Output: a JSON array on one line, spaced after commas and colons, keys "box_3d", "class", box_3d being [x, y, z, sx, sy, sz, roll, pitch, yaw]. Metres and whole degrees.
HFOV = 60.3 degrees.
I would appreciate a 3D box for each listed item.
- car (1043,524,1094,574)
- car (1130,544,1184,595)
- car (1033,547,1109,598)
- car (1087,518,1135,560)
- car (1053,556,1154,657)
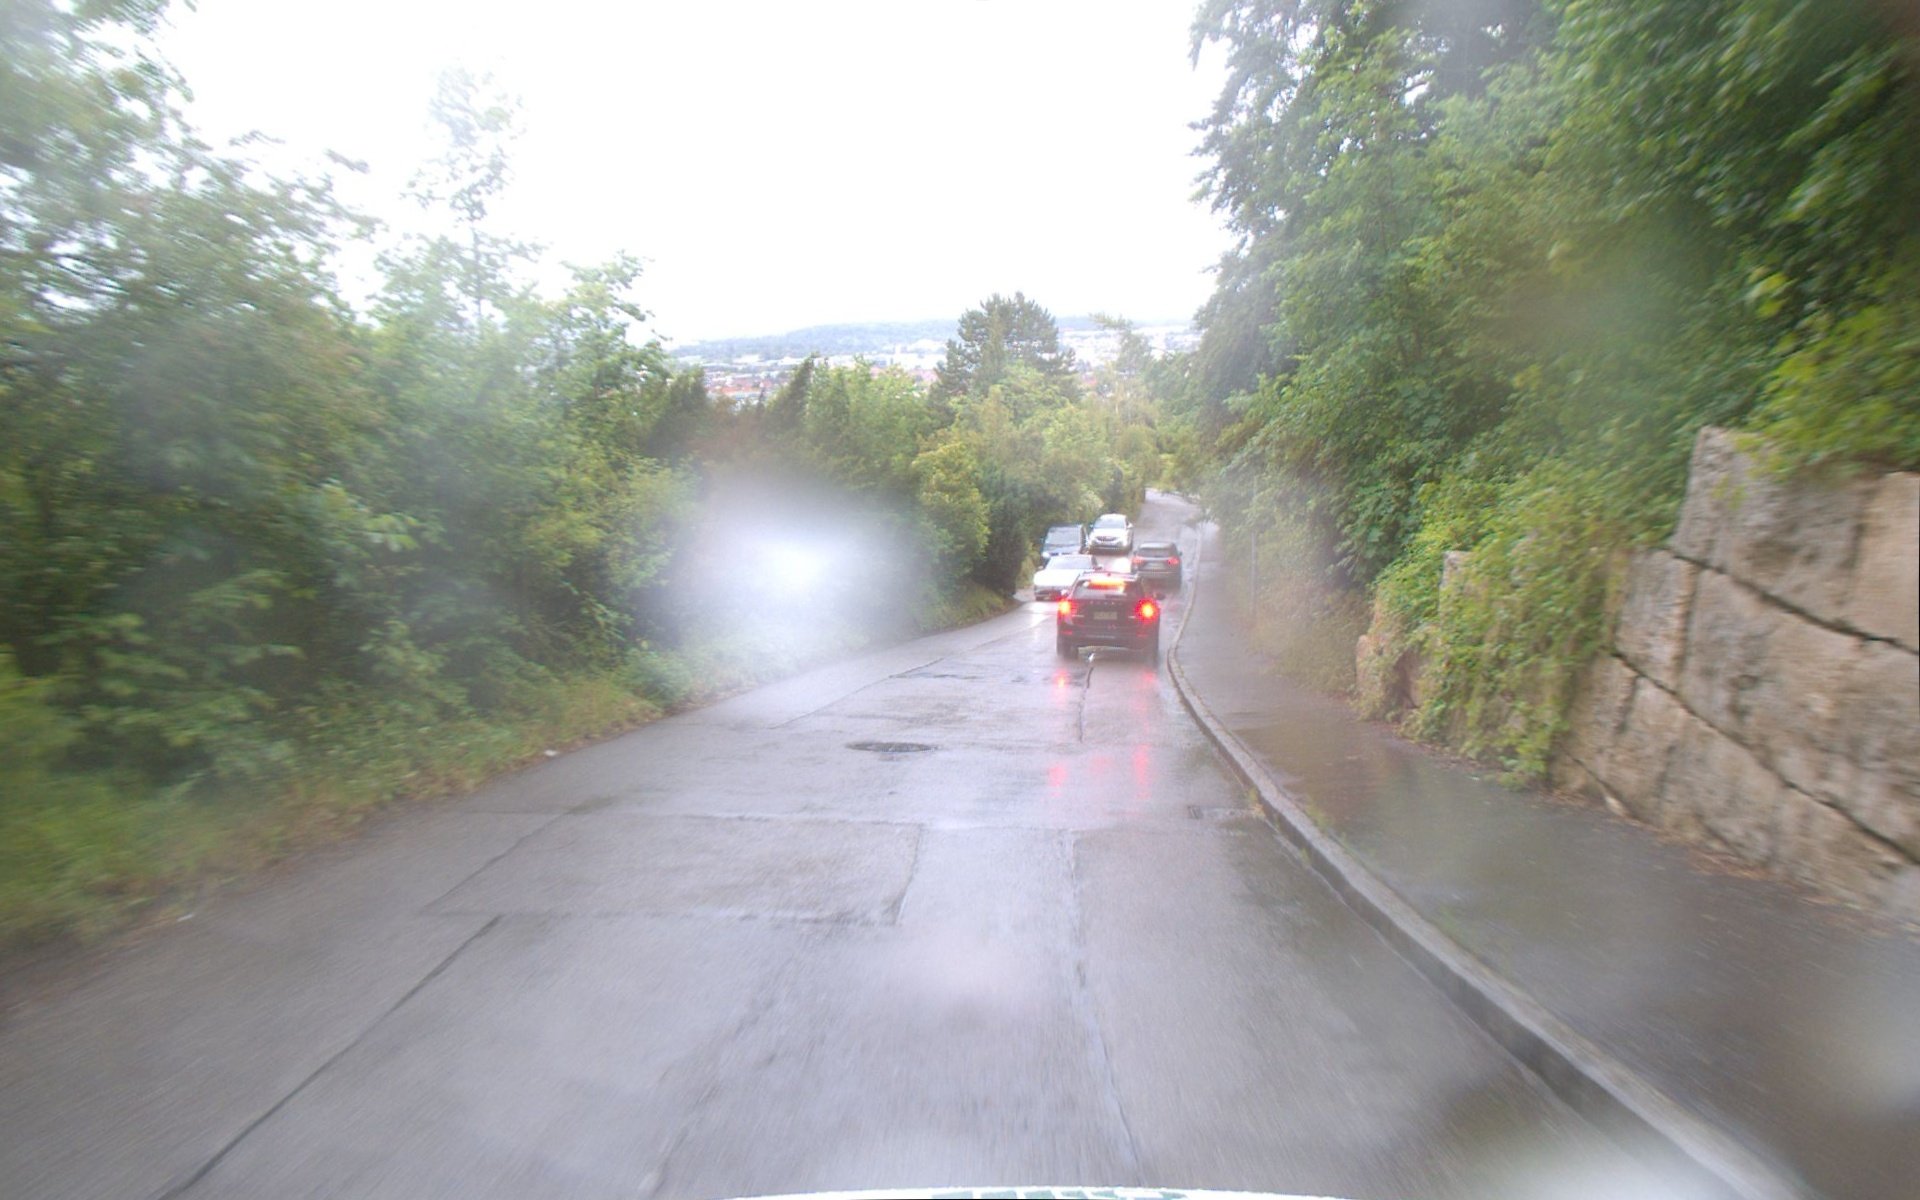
[{"box_3d": [4.470, -2.117, 67.582, 1.653, 1.813, 4.238, 0, 5, 10], "class": "car"}, {"box_3d": [7.152, -1.075, 59.886, 1.823, 1.773, 4.003, 1, 0, 8], "class": "car"}, {"box_3d": [3.666, -0.865, 53.732, 1.899, 1.549, 4.583, 1, 0, 11], "class": "car"}, {"box_3d": [7.086, -2.898, 77.310, 2.004, 1.627, 4.236, 2, 6, 8], "class": "car"}, {"box_3d": [2.579, 0.053, 29.435, 1.663, 1.475, 4.005, 0, 4, 6], "class": "car"}]
